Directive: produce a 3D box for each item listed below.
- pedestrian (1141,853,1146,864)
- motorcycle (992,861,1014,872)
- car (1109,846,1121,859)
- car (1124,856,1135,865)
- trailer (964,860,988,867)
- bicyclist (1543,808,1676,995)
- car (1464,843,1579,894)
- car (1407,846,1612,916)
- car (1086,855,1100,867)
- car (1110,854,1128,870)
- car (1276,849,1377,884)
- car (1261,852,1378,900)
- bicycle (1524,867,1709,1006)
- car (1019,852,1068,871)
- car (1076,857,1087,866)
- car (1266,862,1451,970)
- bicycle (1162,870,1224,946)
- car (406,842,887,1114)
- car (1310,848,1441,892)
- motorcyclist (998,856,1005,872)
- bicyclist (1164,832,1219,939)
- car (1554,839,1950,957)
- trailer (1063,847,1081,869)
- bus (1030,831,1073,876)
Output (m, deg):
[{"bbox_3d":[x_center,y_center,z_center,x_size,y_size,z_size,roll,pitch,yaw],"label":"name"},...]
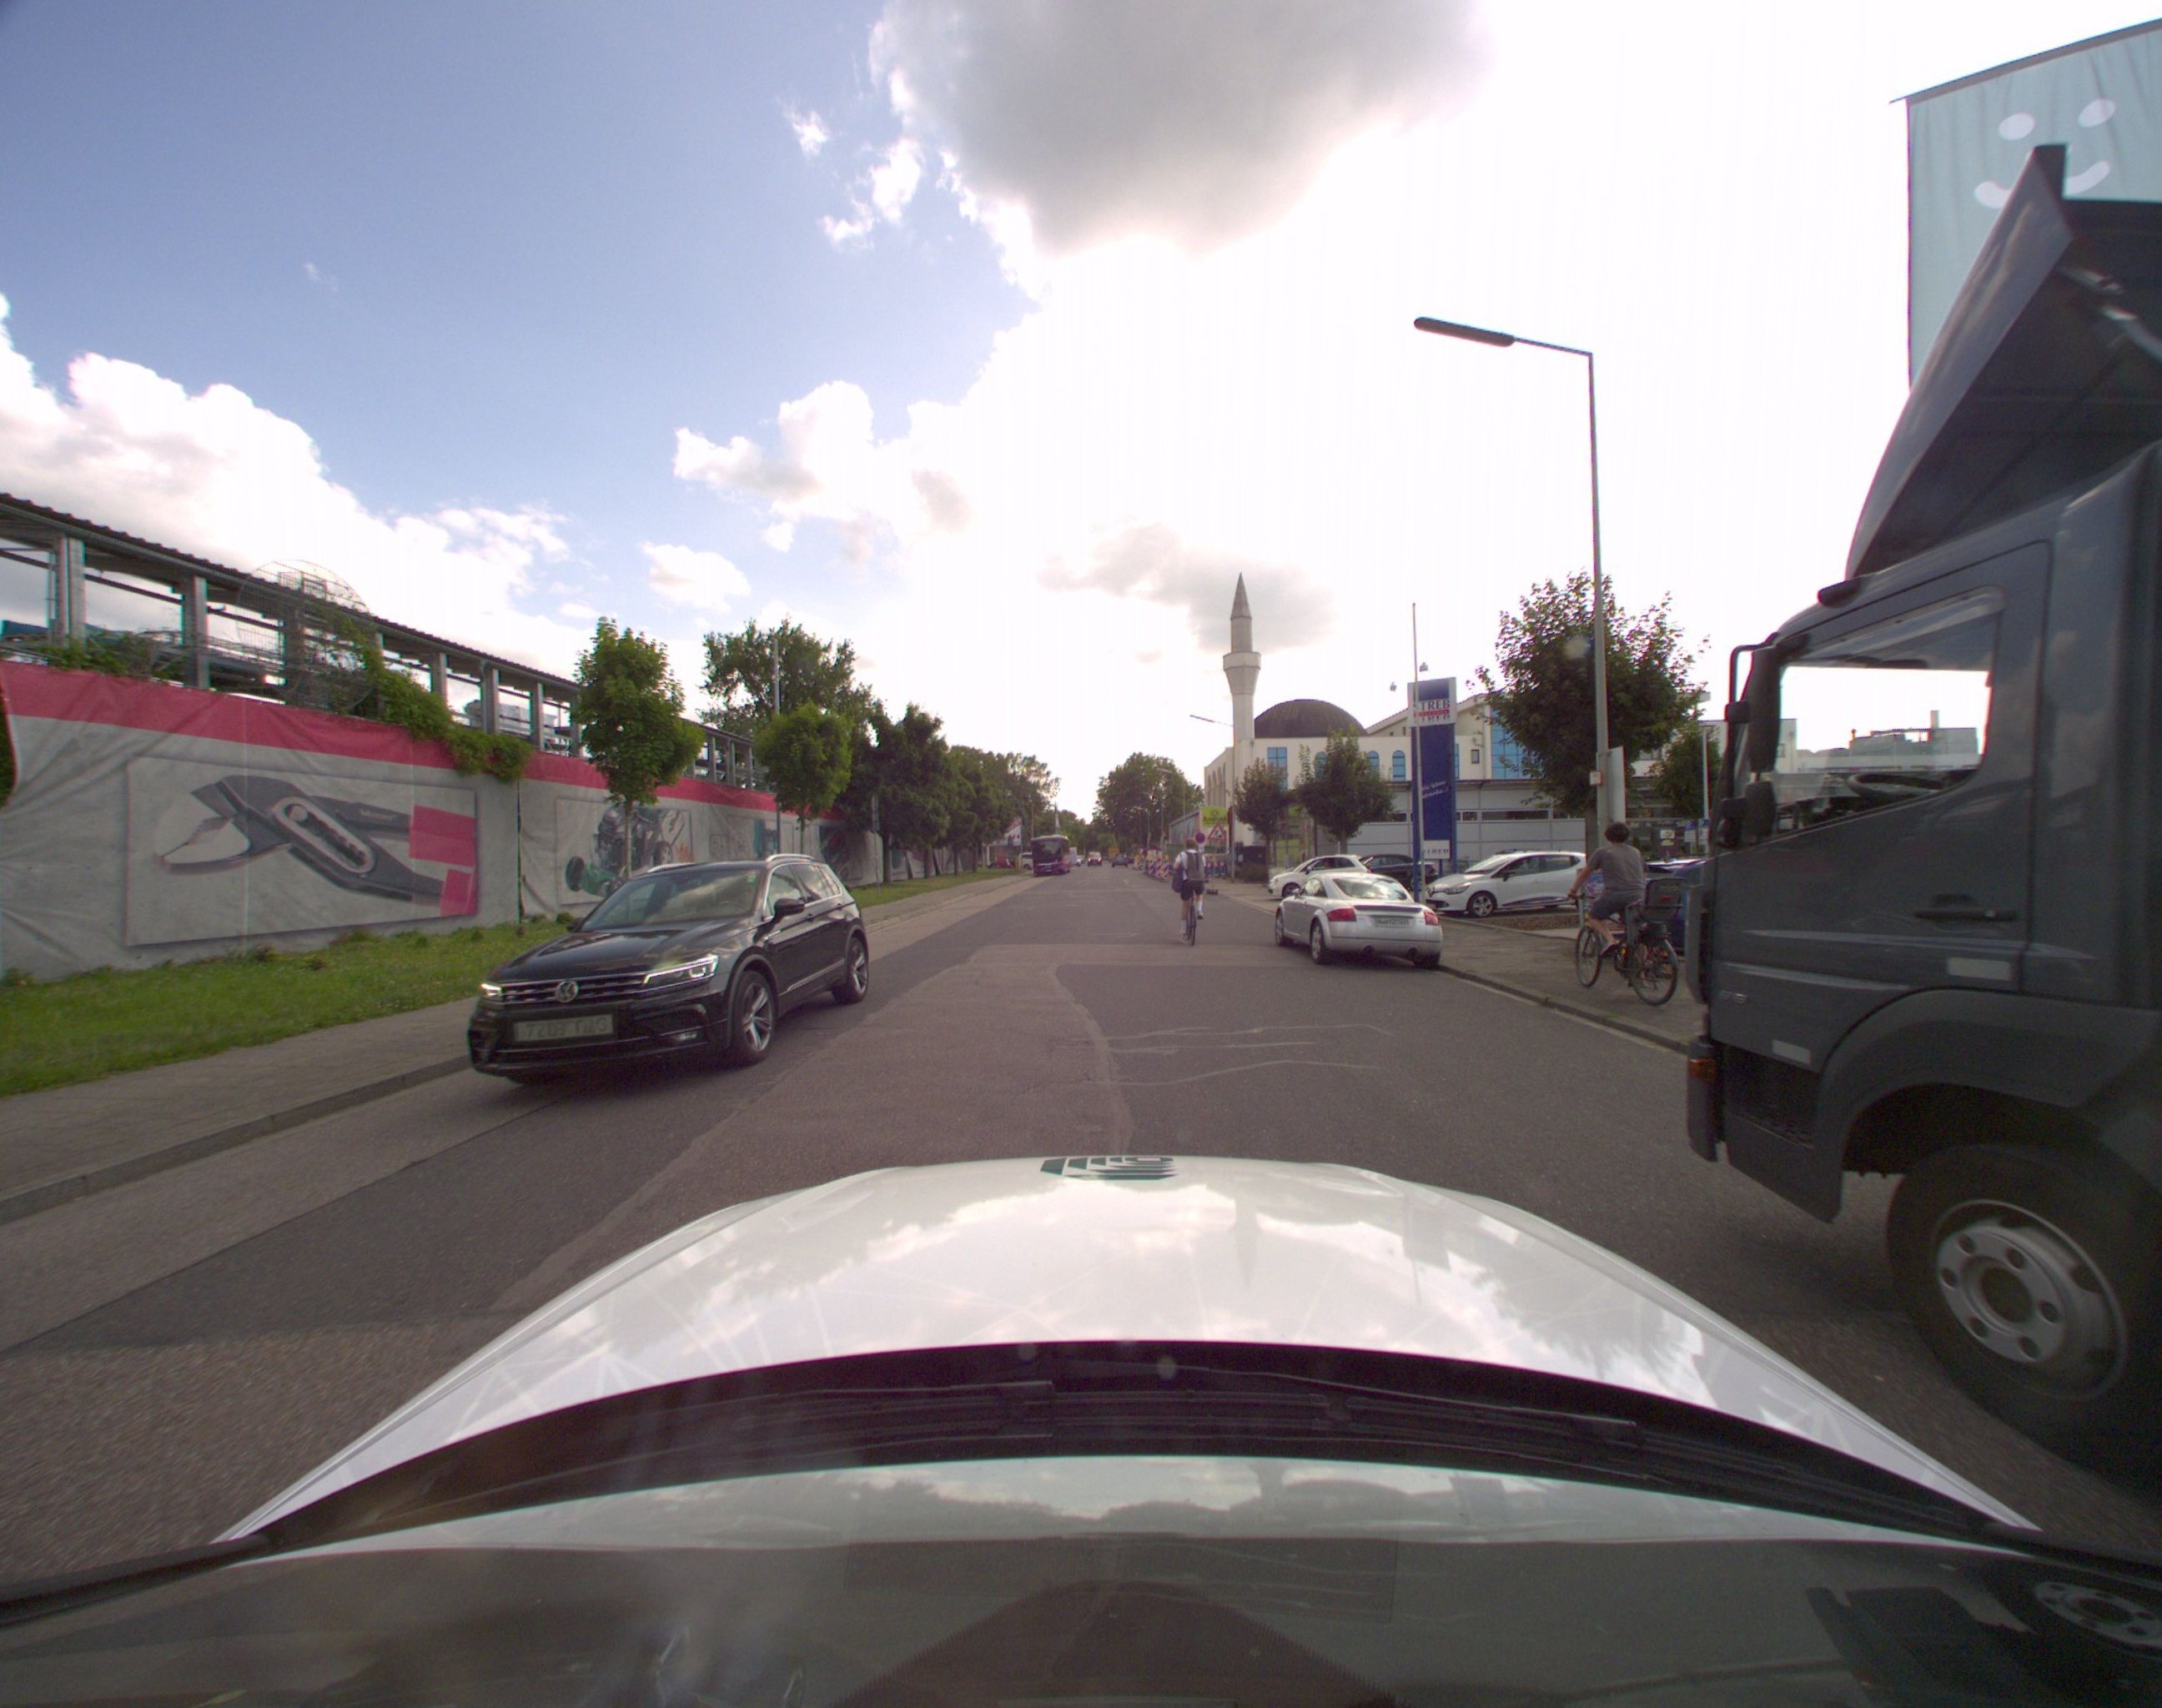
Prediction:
[{"bbox_3d":[9.350,0.701,122.673,0.678,1.534,1.131,-1,-1,2],"label":"pedestrian"},{"bbox_3d":[-8.548,1.349,88.864,2.212,1.213,0.995,-2,0,2],"label":"motorcycle"},{"bbox_3d":[6.916,-0.346,165.894,2.192,2.578,6.402,-1,0,-1],"label":"car"},{"bbox_3d":[8.114,1.126,137.502,1.800,1.391,4.592,2,0,3],"label":"car"},{"bbox_3d":[-18.038,1.648,140.281,3.796,1.191,1.718,-1,0,7],"label":"trailer"},{"bbox_3d":[5.783,0.499,8.969,0.791,1.910,0.829,-4,-1,4],"label":"bicyclist"},{"bbox_3d":[14.464,0.439,26.636,4.409,1.411,1.667,-3,0,-38],"label":"car"},{"bbox_3d":[10.168,0.611,19.525,3.941,1.411,1.796,-3,0,-2],"label":"car"},{"bbox_3d":[1.660,0.946,110.567,1.862,1.630,4.128,-1,0,1],"label":"car"},{"bbox_3d":[4.534,0.950,97.794,1.955,1.815,4.275,-1,0,0],"label":"car"},{"bbox_3d":[11.460,0.578,38.171,4.092,1.463,1.989,-2,0,-2],"label":"car"},{"bbox_3d":[8.120,0.721,27.992,3.582,1.470,1.691,-2,0,5],"label":"car"},{"bbox_3d":[5.802,0.831,8.988,0.789,1.295,1.884,-5,-1,4],"label":"bicycle"},{"bbox_3d":[-4.038,0.803,88.384,4.973,1.949,1.996,-1,0,7],"label":"car"},{"bbox_3d":[0.091,1.355,147.467,1.702,1.420,4.335,-4,0,3],"label":"car"},{"bbox_3d":[4.228,0.864,13.081,1.655,1.340,3.986,2,0,1],"label":"car"},{"bbox_3d":[1.932,0.901,14.414,0.795,1.180,2.627,1,0,1],"label":"bicycle"},{"bbox_3d":[-3.354,0.812,7.459,1.867,1.620,4.295,-5,0,2],"label":"car"},{"bbox_3d":[10.854,0.588,30.191,4.168,1.430,1.805,-2,0,-2],"label":"car"},{"bbox_3d":[-8.675,1.093,88.879,0.671,1.723,0.995,-2,0,3],"label":"motorcyclist"},{"bbox_3d":[1.926,0.538,14.342,0.803,1.792,1.207,1,-1,1],"label":"bicyclist"},{"bbox_3d":[9.613,0.590,11.931,4.294,1.443,1.846,-2,0,-1],"label":"car"},{"bbox_3d":[-1.160,0.524,112.013,2.132,2.783,4.705,-3,0,1],"label":"trailer"},{"bbox_3d":[-2.416,-0.014,72.060,2.653,3.422,13.224,-4,0,2],"label":"bus"}]
